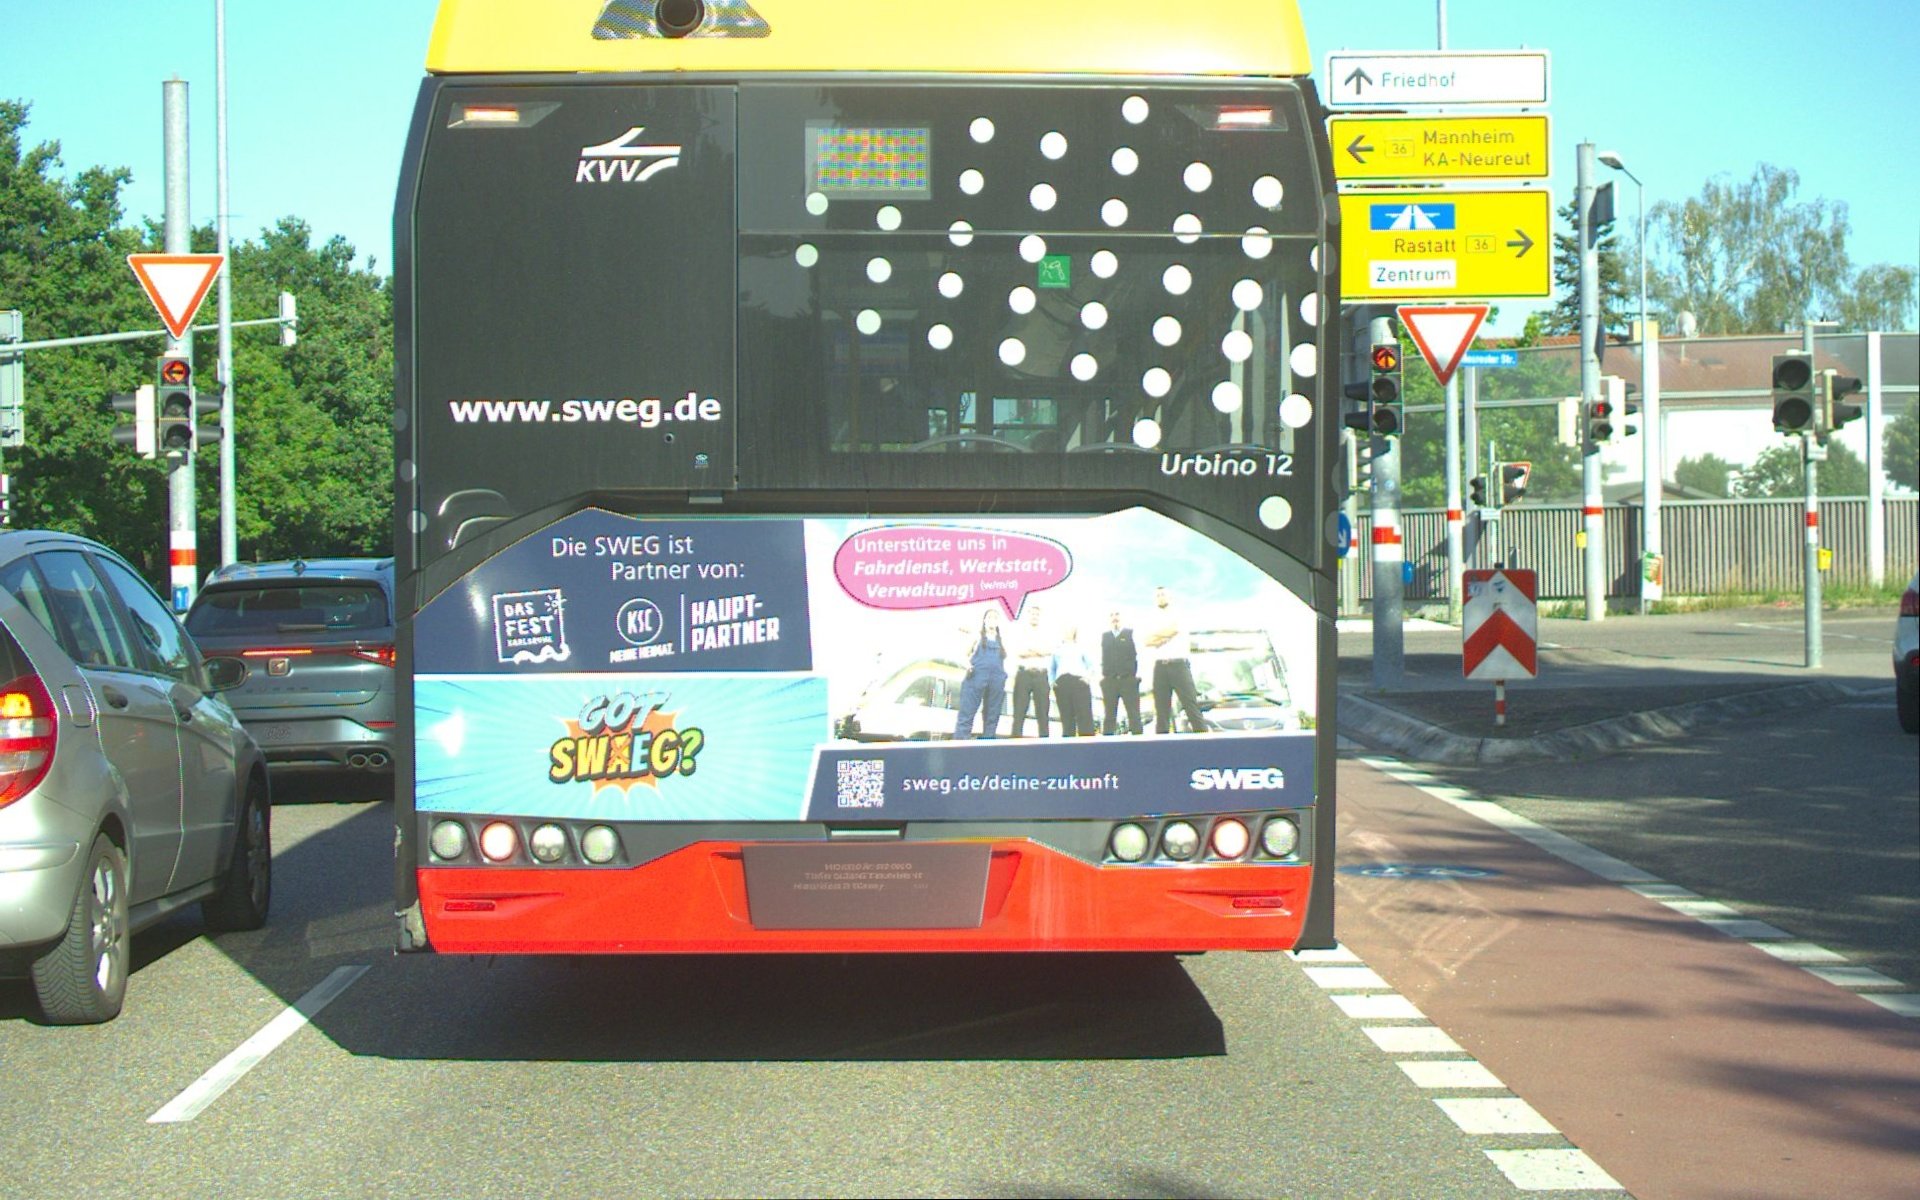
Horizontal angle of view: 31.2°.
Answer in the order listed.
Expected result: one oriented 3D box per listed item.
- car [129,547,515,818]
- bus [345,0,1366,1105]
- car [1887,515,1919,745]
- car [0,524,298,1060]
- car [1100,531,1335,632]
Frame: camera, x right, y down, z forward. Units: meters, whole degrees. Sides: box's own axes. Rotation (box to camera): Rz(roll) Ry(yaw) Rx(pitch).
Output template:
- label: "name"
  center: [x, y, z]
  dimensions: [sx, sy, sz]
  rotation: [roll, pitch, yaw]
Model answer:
- label: "car"
  center: [-3.811, 0.433, 21.112]
  dimensions: [1.692, 1.453, 3.751]
  rotation: [-2, 1, -1]
- label: "bus"
  center: [-0.292, -0.401, 14.879]
  dimensions: [2.642, 3.156, 11.861]
  rotation: [0, 1, 0]
- label: "car"
  center: [8.277, 0.131, 25.825]
  dimensions: [1.720, 1.602, 4.062]
  rotation: [0, 2, 27]
- label: "car"
  center: [-3.604, 0.562, 12.180]
  dimensions: [1.761, 1.584, 4.000]
  rotation: [-2, 1, -1]
- label: "car"
  center: [4.829, -0.350, 64.381]
  dimensions: [3.991, 1.809, 1.921]
  rotation: [1, 1, 21]
